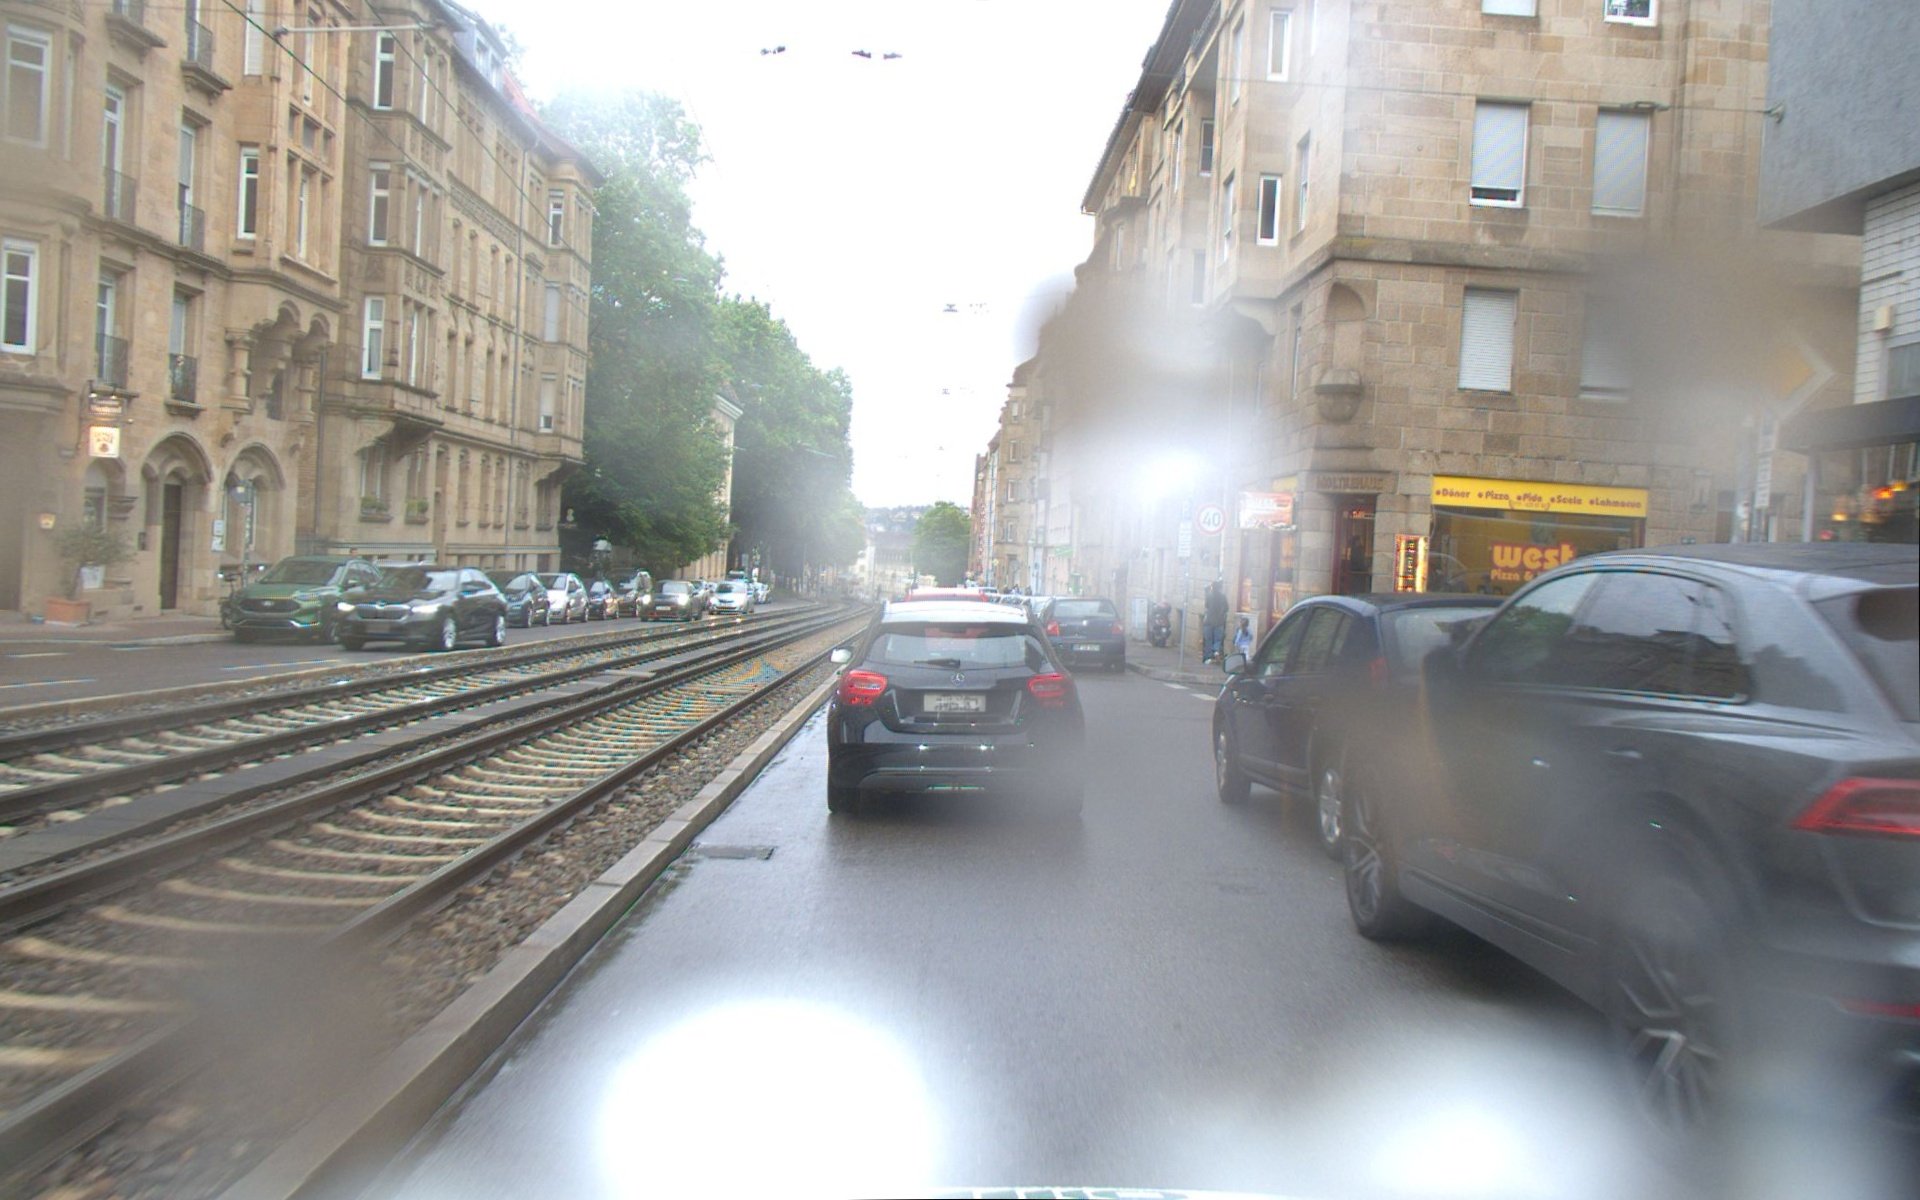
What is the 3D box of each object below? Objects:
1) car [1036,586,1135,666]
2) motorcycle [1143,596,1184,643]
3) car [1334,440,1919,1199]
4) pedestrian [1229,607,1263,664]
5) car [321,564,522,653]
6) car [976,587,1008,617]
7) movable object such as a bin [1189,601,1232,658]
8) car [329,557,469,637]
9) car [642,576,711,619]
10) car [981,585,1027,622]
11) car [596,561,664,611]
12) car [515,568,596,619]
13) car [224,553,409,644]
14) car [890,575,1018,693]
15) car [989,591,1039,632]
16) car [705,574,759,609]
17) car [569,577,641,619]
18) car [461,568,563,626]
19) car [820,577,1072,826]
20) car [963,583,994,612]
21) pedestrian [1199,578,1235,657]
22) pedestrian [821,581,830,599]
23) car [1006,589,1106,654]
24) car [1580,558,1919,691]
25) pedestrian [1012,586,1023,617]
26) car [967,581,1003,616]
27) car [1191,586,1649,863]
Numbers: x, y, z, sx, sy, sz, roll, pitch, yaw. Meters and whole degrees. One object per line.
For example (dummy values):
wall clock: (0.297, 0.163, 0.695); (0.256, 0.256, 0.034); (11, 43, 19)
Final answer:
car: (2.413, 0.469, 32.576); (1.637, 1.469, 3.790); (0, 0, -1)
motorcycle: (5.473, 0.508, 44.630); (0.691, 1.219, 2.745); (2, 0, -1)
car: (2.768, 0.573, 5.701); (1.756, 1.791, 4.564); (2, 0, -2)
pedestrian: (5.436, 0.670, 31.448); (0.500, 1.068, 0.626); (2, 0, -1)
car: (-9.801, 0.124, 30.574); (2.045, 1.483, 4.860); (1, 0, 1)
car: (1.614, 0.072, 84.757); (1.538, 1.487, 3.599); (1, 0, -1)
movable object such as a bin: (5.178, 0.607, 34.211); (0.651, 1.122, 1.123); (2, 0, -1)
car: (-12.606, -0.084, 37.452); (1.821, 1.681, 4.313); (1, 0, -2)
car: (-9.901, -0.089, 57.993); (1.669, 1.412, 3.782); (1, 0, 2)
car: (1.770, 0.109, 68.121); (1.634, 1.459, 3.954); (1, 0, -2)
car: (-12.900, -0.547, 64.867); (1.764, 1.879, 4.817); (1, 0, -1)
car: (-12.794, -0.208, 52.515); (1.660, 1.550, 3.854); (1, 0, 0)
car: (-12.464, -0.036, 32.360); (1.820, 1.630, 4.430); (1, 0, 1)
car: (-0.113, 0.460, 25.123); (1.749, 1.608, 3.999); (2, 0, -1)
car: (2.016, 0.414, 62.904); (1.559, 1.459, 3.682); (1, 0, -3)
car: (-10.134, -0.398, 73.860); (1.942, 1.482, 4.293); (1, 0, -2)
car: (-12.501, -0.089, 58.462); (1.727, 1.422, 4.268); (1, 0, -2)
car: (-12.746, -0.098, 47.333); (1.832, 1.534, 4.168); (1, 0, -1)
car: (-0.128, 0.627, 12.237); (1.548, 1.531, 3.573); (2, 0, -1)
car: (1.148, -0.172, 104.066); (1.791, 1.781, 4.466); (2, 1, -1)
pedestrian: (5.166, 0.352, 33.258); (0.550, 1.562, 0.710); (2, 0, -1)
pedestrian: (-12.734, -0.947, 156.313); (0.789, 1.662, 0.892); (0, 1, -1)
car: (2.151, 0.448, 38.126); (1.720, 1.411, 4.481); (0, 1, -4)
car: (12.196, 0.345, 25.262); (4.681, 1.894, 1.999); (-1, 0, -2)
pedestrian: (3.368, 0.092, 96.751); (0.595, 1.794, 0.688); (0, 0, -2)
car: (1.306, -0.084, 88.997); (1.754, 1.796, 4.211); (1, 0, -2)
car: (2.813, 0.664, 11.044); (1.658, 1.508, 3.925); (0, 0, -5)
